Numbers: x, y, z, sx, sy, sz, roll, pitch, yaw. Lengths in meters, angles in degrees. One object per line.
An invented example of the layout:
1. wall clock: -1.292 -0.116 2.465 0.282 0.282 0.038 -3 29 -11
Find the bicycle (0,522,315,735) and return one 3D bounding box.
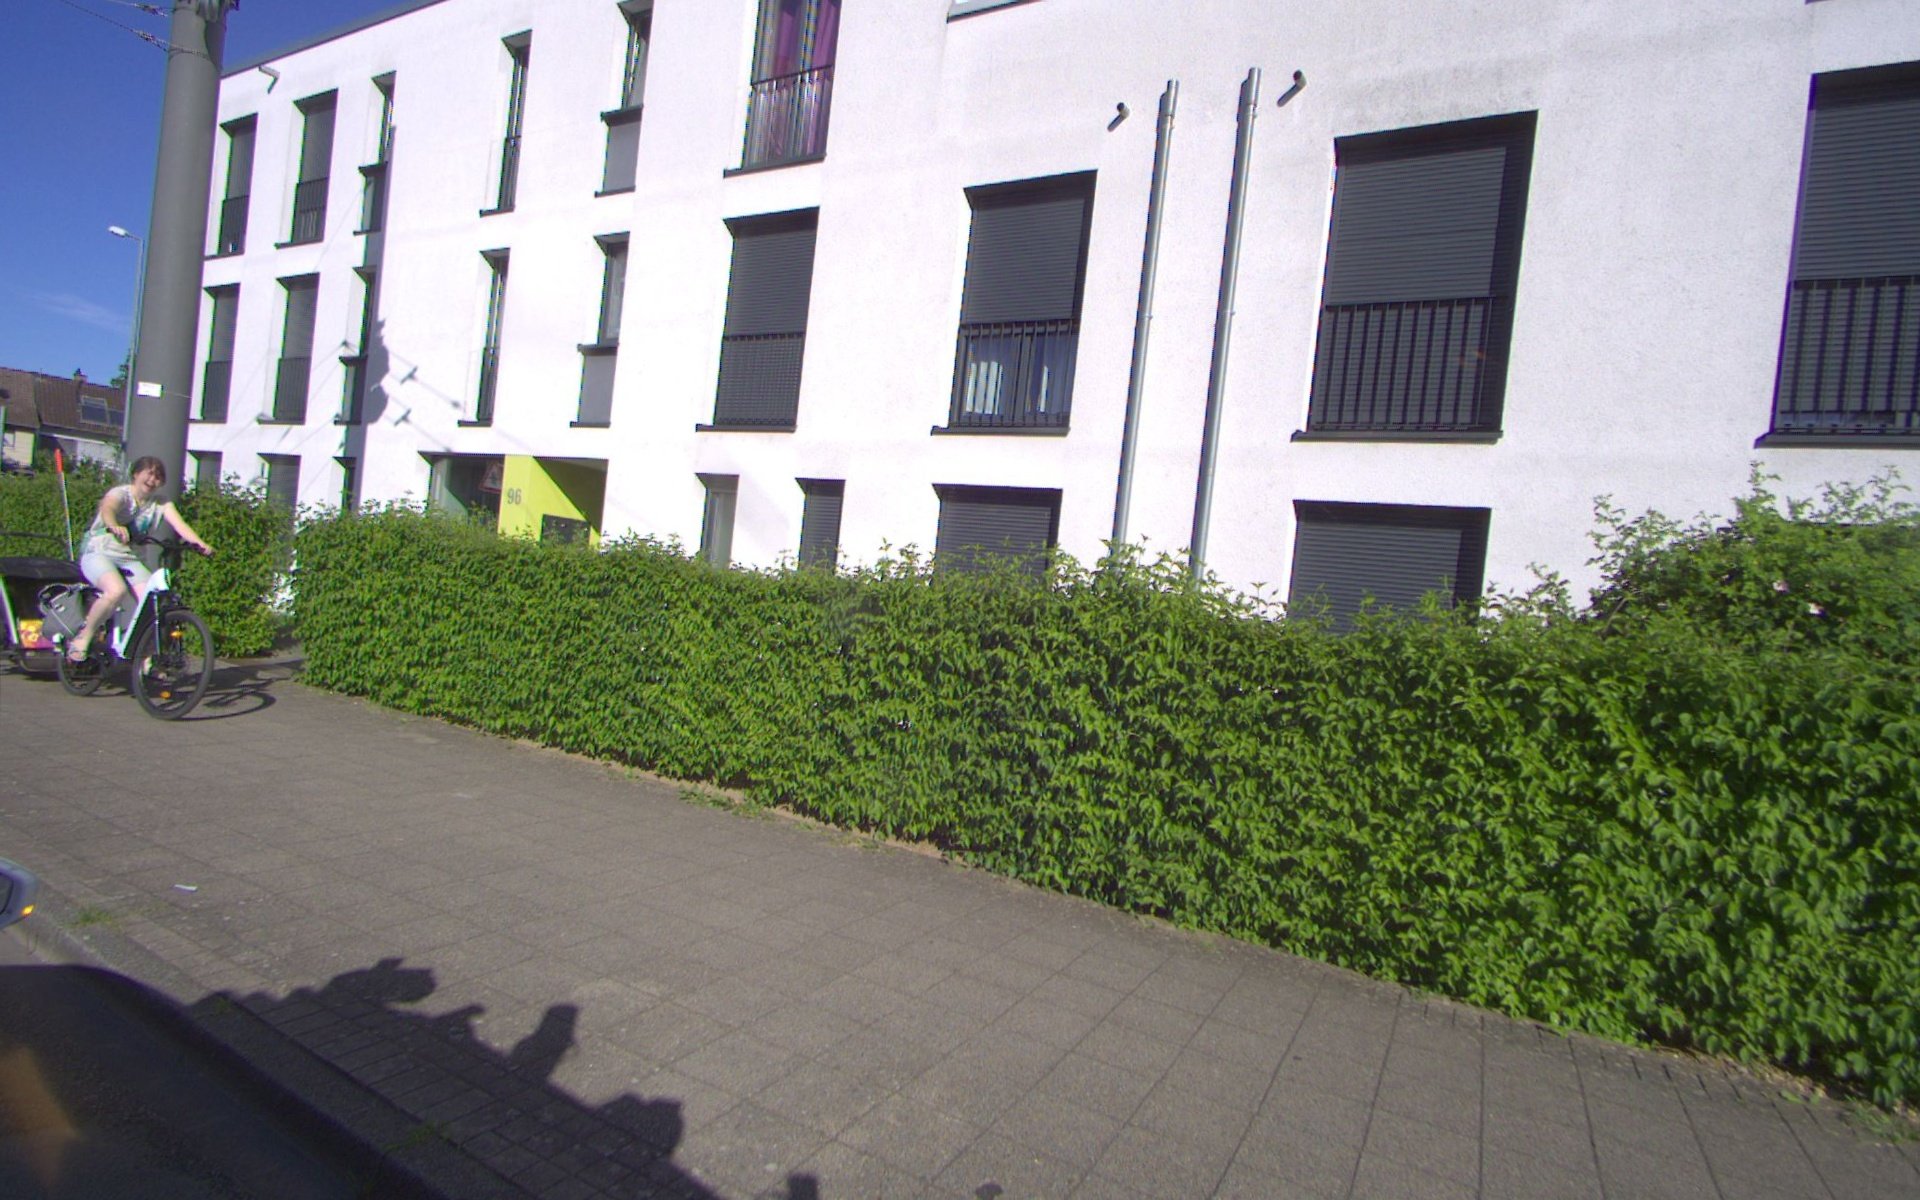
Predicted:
1. bicycle: -6.261 0.128 7.384 3.068 1.188 0.931 6 1 23

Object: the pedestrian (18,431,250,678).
1. pedestrian: -5.926 -0.306 7.251 0.839 1.614 0.913 6 1 23
